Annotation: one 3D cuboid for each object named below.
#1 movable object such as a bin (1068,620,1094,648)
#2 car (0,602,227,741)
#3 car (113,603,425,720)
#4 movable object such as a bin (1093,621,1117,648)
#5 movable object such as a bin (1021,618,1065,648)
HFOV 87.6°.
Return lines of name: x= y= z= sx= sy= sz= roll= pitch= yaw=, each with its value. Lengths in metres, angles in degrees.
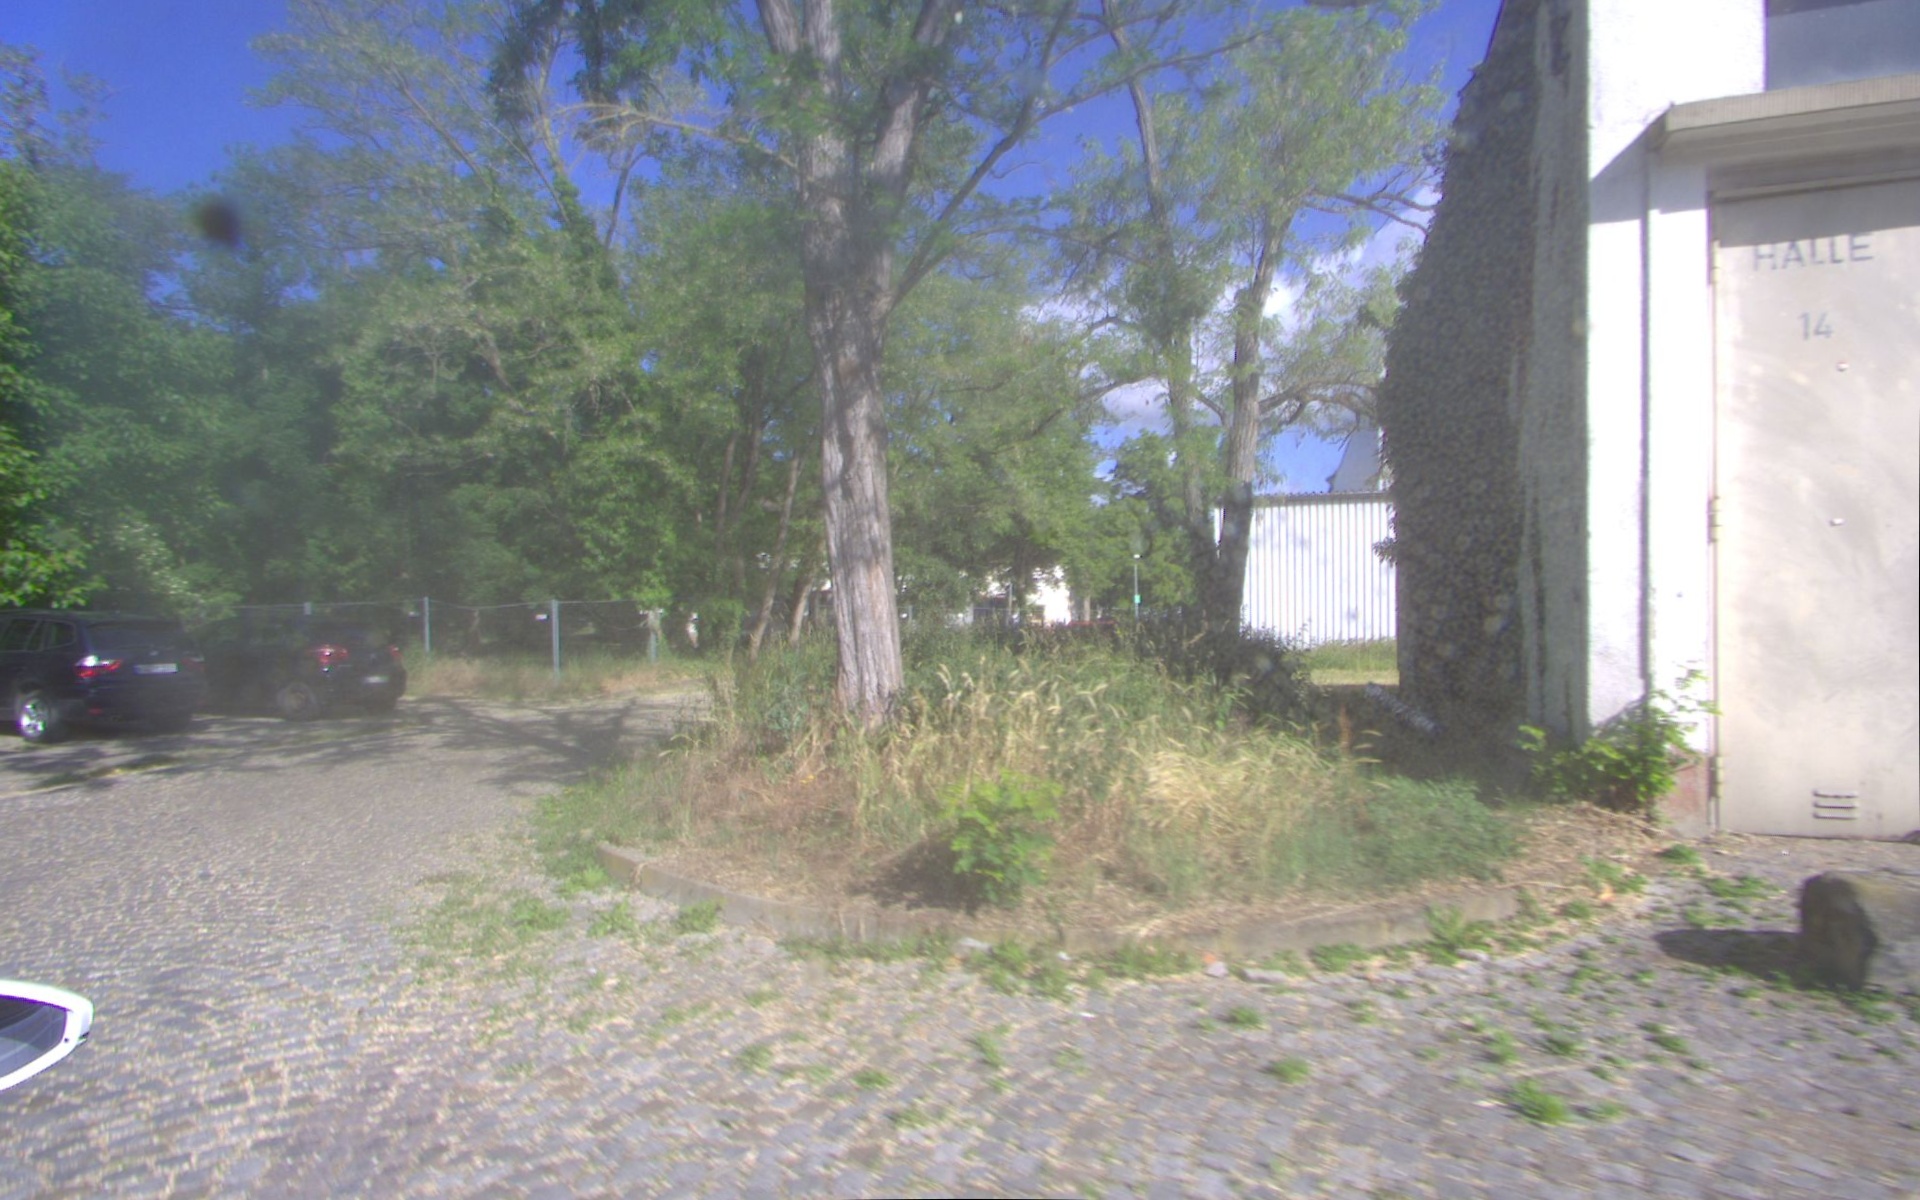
movable object such as a bin: x=6.557 y=1.837 z=54.235 sx=1.316 sy=1.503 sz=0.806 roll=0 pitch=-1 yaw=12
car: x=-12.564 y=0.890 z=13.867 sx=4.115 sy=1.678 sz=1.815 roll=1 pitch=0 yaw=18
car: x=-11.441 y=0.965 z=16.699 sx=4.218 sy=1.673 sz=1.793 roll=2 pitch=0 yaw=10
movable object such as a bin: x=7.789 y=1.850 z=53.717 sx=1.225 sy=1.463 sz=0.702 roll=0 pitch=-1 yaw=13
movable object such as a bin: x=4.533 y=1.792 z=54.608 sx=2.252 sy=1.612 sz=1.174 roll=0 pitch=-1 yaw=13
